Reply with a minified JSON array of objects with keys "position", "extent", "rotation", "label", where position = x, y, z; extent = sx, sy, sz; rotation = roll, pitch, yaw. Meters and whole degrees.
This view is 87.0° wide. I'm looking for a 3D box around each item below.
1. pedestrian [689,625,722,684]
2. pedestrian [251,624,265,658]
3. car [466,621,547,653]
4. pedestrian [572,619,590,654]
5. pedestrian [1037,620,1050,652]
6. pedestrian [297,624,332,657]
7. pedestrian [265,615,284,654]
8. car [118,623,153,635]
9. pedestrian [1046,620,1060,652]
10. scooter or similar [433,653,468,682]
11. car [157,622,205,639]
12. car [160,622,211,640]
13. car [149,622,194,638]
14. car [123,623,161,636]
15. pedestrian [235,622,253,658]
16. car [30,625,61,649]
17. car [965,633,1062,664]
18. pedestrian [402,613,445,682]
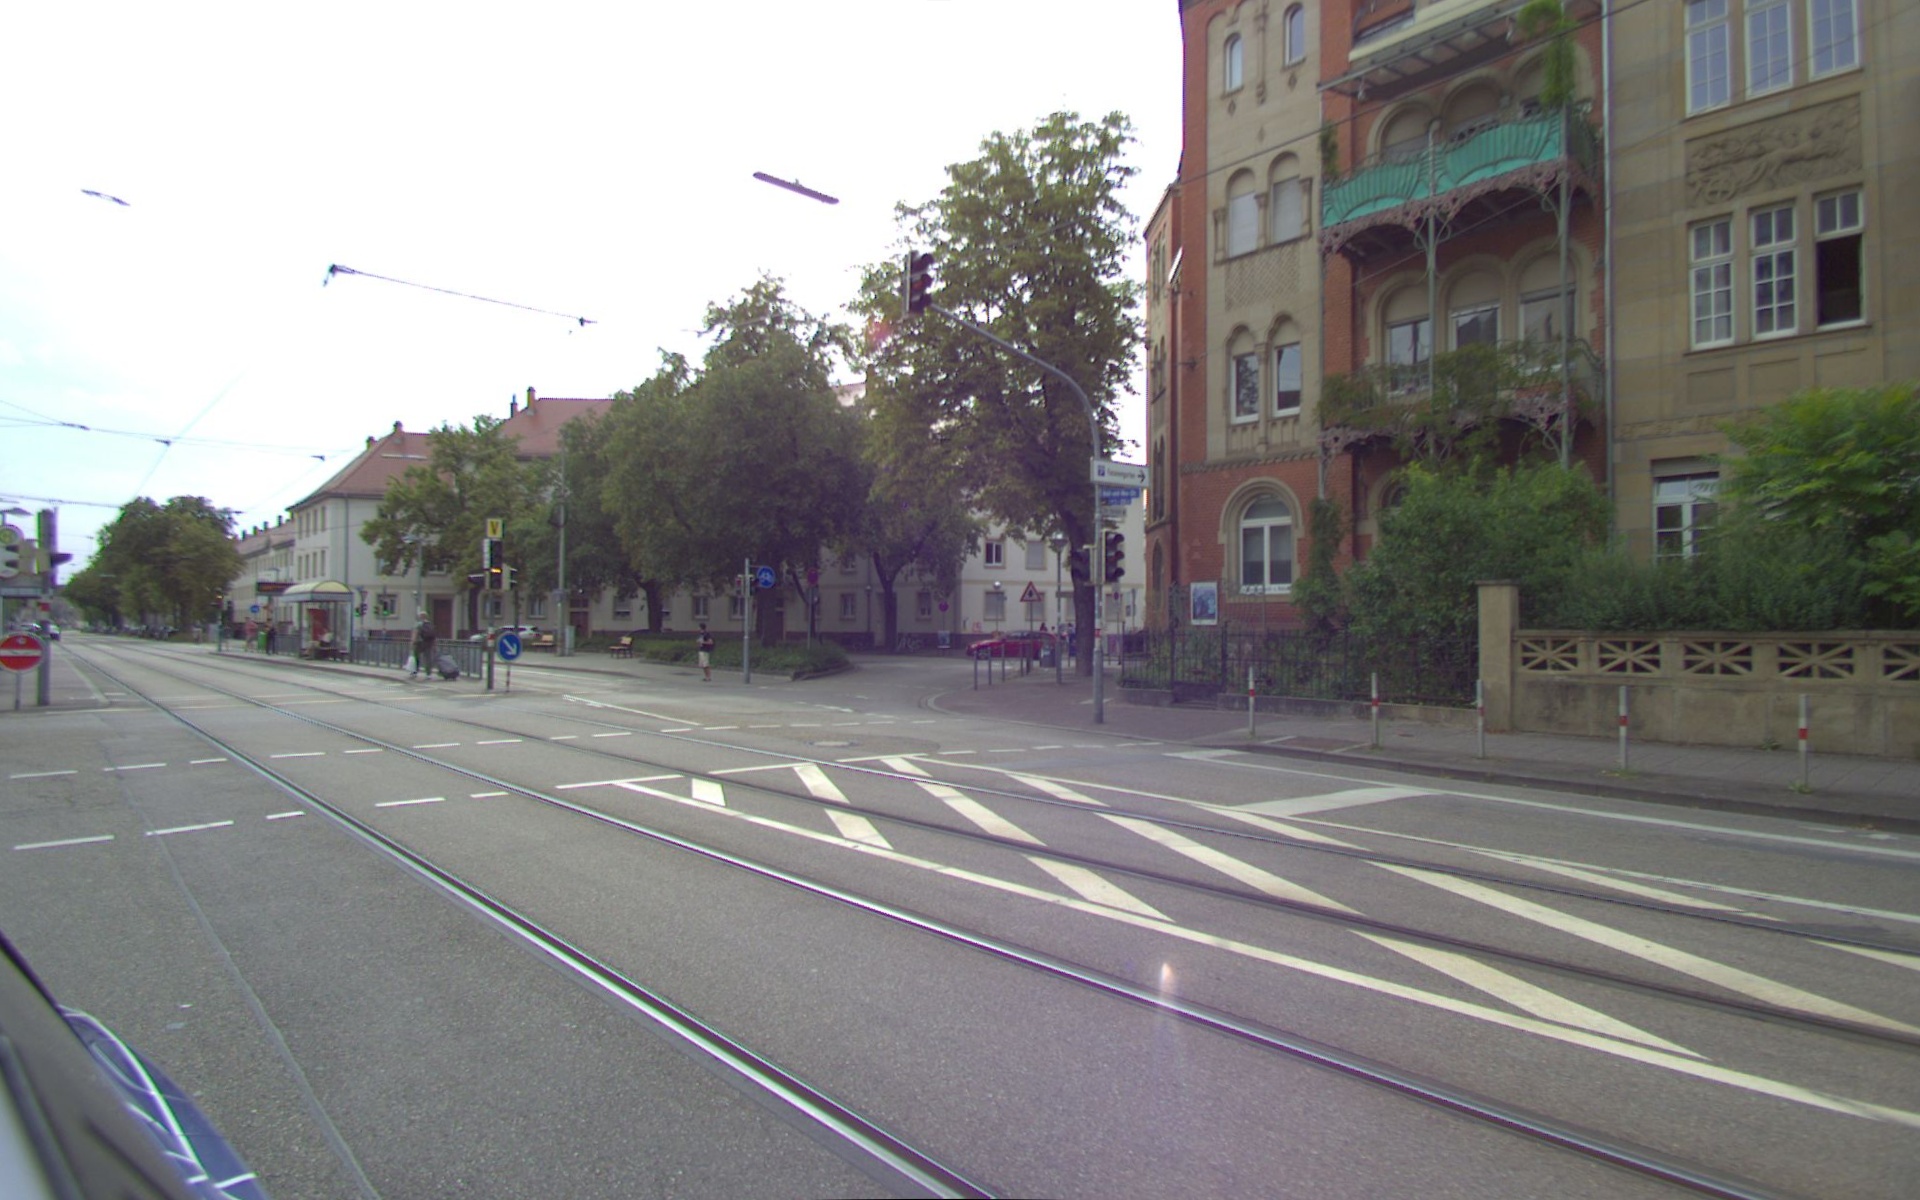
[{"position":[-7.415,1.584,29.514],"extent":[0.712,1.703,0.645],"rotation":[-1,-3,43],"label":"pedestrian"},{"position":[-36.491,2.120,52.626],"extent":[0.401,1.716,0.495],"rotation":[-1,-1,34],"label":"pedestrian"},{"position":[-27.468,2.217,61.418],"extent":[4.132,1.879,1.857],"rotation":[0,-1,-8],"label":"car"},{"position":[-22.391,2.166,59.798],"extent":[0.851,2.029,0.765],"rotation":[0,-1,-9],"label":"pedestrian"},{"position":[4.739,2.040,57.398],"extent":[0.543,1.840,0.590],"rotation":[0,-1,-23],"label":"pedestrian"},{"position":[-25.088,1.576,39.344],"extent":[1.018,1.246,0.724],"rotation":[0,-1,-45],"label":"pedestrian"},{"position":[-30.525,1.551,45.096],"extent":[0.619,1.716,0.580],"rotation":[-2,-1,43],"label":"pedestrian"},{"position":[-120.960,4.243,148.476],"extent":[3.937,1.739,1.879],"rotation":[0,-1,-41],"label":"car"},{"position":[5.278,2.038,57.629],"extent":[0.543,1.840,0.590],"rotation":[0,-1,-23],"label":"pedestrian"},{"position":[-12.759,1.686,25.357],"extent":[0.660,0.718,0.605],"rotation":[1,-2,-12],"label":"scooter or similar"},{"position":[-81.982,3.197,106.557],"extent":[3.937,1.739,1.879],"rotation":[0,-1,-41],"label":"car"},{"position":[-76.018,3.024,99.343],"extent":[3.937,1.739,1.879],"rotation":[0,-1,-41],"label":"car"},{"position":[-88.933,3.386,114.195],"extent":[3.937,1.739,1.879],"rotation":[0,-1,-41],"label":"car"},{"position":[-109.582,3.928,135.648],"extent":[3.937,1.739,1.879],"rotation":[0,-1,-41],"label":"car"},{"position":[-36.850,2.055,52.090],"extent":[0.463,1.848,0.650],"rotation":[-1,-1,34],"label":"pedestrian"},{"position":[-80.470,3.245,89.059],"extent":[1.969,2.029,4.005],"rotation":[0,-1,-41],"label":"car"},{"position":[2.459,2.228,46.713],"extent":[4.245,1.415,1.705],"rotation":[0,-2,-5],"label":"car"},{"position":[-13.522,1.197,25.502],"extent":[0.814,1.703,0.676],"rotation":[-1,-3,39],"label":"pedestrian"}]
